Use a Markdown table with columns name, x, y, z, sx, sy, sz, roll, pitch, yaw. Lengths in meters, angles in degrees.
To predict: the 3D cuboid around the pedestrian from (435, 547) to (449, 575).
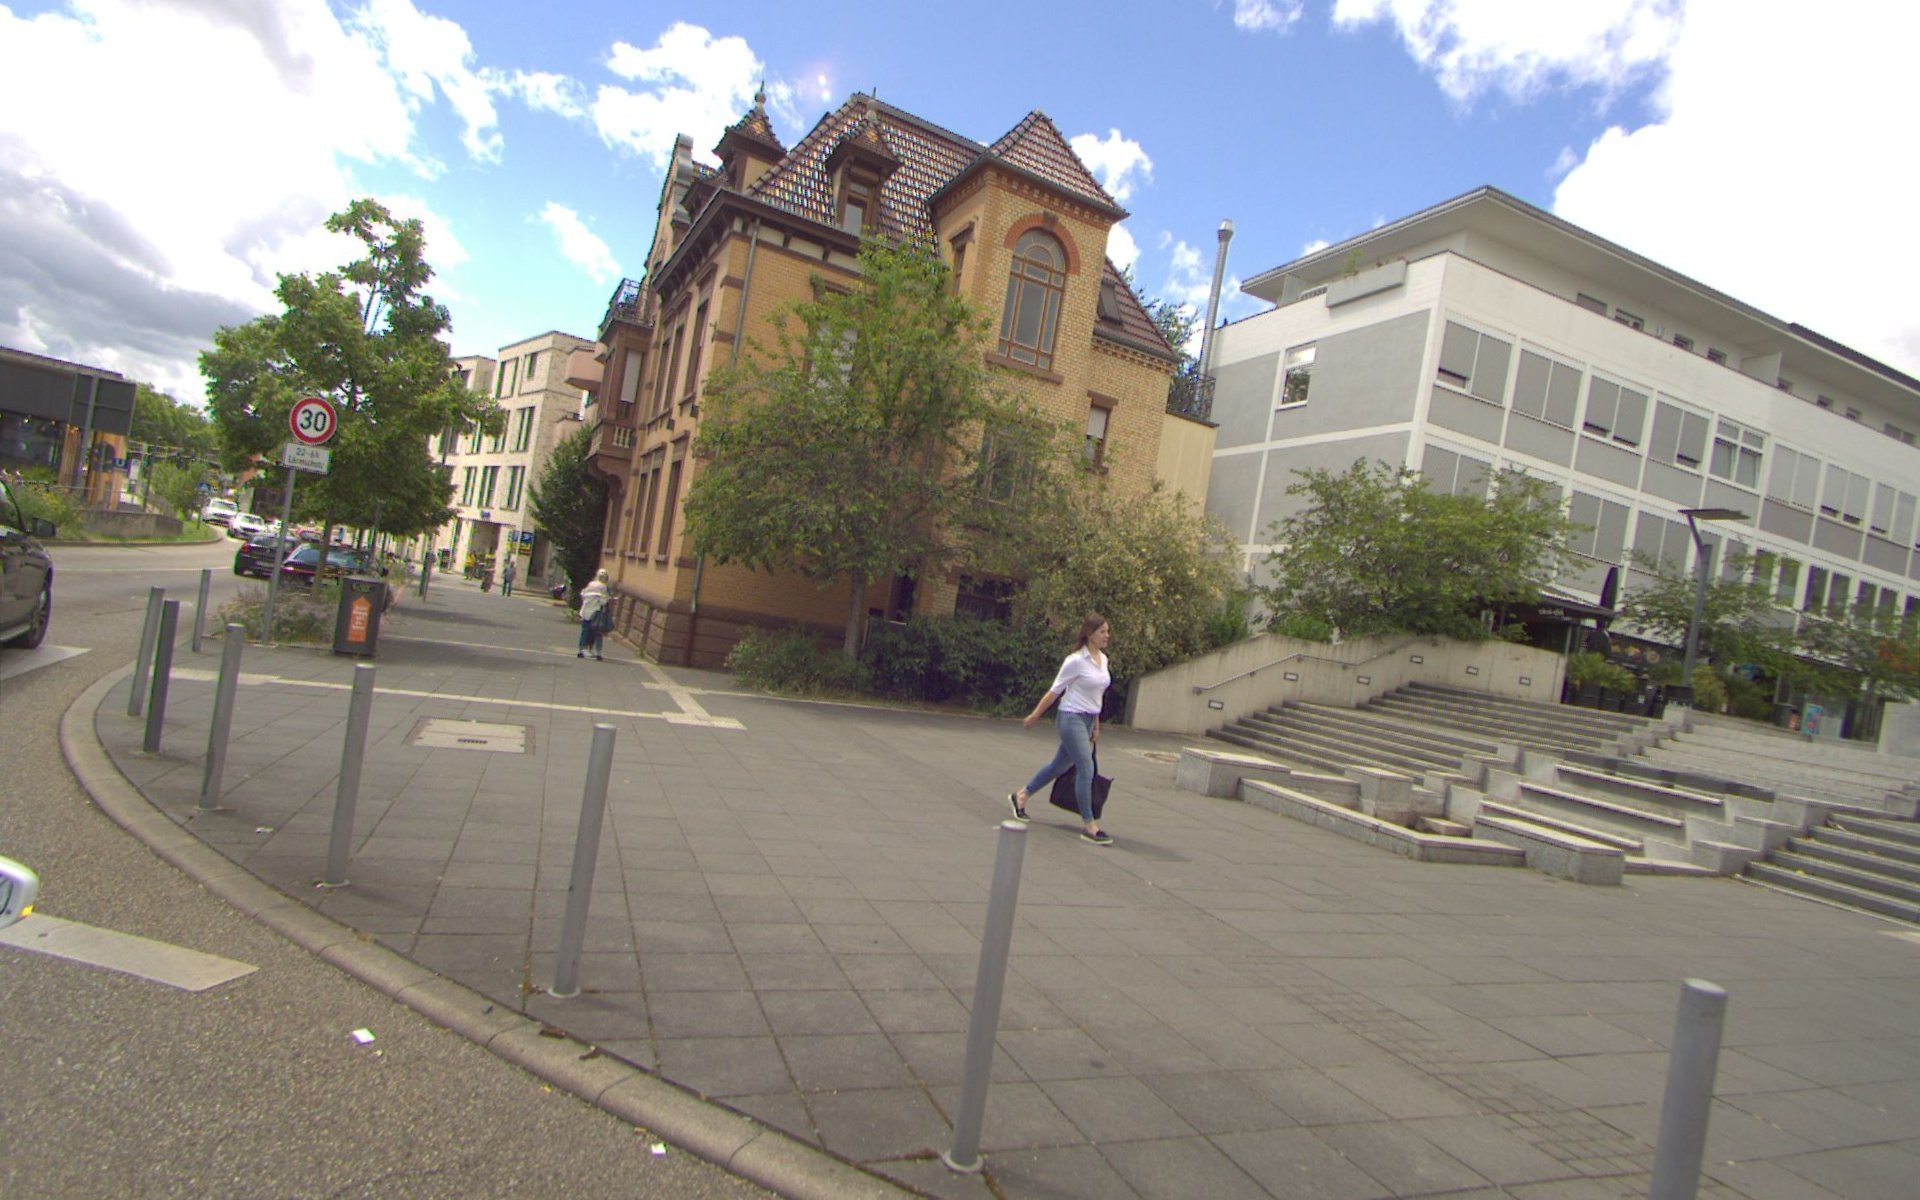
| name | x | y | z | sx | sy | sz | roll | pitch | yaw |
| --- | --- | --- | --- | --- | --- | --- | --- | --- | --- |
| pedestrian | -32.919 | -2.461 | 63.952 | 0.555 | 1.702 | 0.563 | 9 | -1 | -31 |

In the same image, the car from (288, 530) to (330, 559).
| name | x | y | z | sx | sy | sz | roll | pitch | yaw |
| --- | --- | --- | --- | --- | --- | --- | --- | --- | --- |
| car | -39.613 | -3.394 | 61.151 | 1.603 | 1.399 | 3.793 | 9 | -1 | -40 |

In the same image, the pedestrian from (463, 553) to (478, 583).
| name | x | y | z | sx | sy | sz | roll | pitch | yaw |
| --- | --- | --- | --- | --- | --- | --- | --- | --- | --- |
| pedestrian | -29.201 | -1.927 | 60.042 | 0.555 | 1.711 | 0.634 | 9 | -1 | -31 |

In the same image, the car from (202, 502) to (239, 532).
| name | x | y | z | sx | sy | sz | roll | pitch | yaw |
| --- | --- | --- | --- | --- | --- | --- | --- | --- | --- |
| car | -57.807 | -6.484 | 78.642 | 1.837 | 1.877 | 4.446 | 13 | -3 | -40 |

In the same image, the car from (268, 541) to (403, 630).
| name | x | y | z | sx | sy | sz | roll | pitch | yaw |
| --- | --- | --- | --- | --- | --- | --- | --- | --- | --- |
| car | -12.886 | -0.330 | 21.006 | 1.841 | 1.422 | 4.346 | 8 | -2 | -27 |

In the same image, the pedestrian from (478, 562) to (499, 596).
| name | x | y | z | sx | sy | sz | roll | pitch | yaw |
| --- | --- | --- | --- | --- | --- | --- | --- | --- | --- |
| pedestrian | -24.050 | -1.072 | 51.360 | 0.707 | 1.581 | 0.563 | 9 | -1 | -33 |

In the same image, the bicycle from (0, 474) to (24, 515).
| name | x | y | z | sx | sy | sz | roll | pitch | yaw |
| --- | --- | --- | --- | --- | --- | --- | --- | --- | --- |
| bicycle | -28.148 | -3.158 | 28.947 | 1.556 | 1.103 | 0.574 | 10 | -1 | -28 |

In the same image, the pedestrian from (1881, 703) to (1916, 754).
| name | x | y | z | sx | sy | sz | roll | pitch | yaw |
| --- | --- | --- | --- | --- | --- | --- | --- | --- | --- |
| pedestrian | 26.333 | 3.601 | 28.222 | 0.542 | 1.339 | 0.562 | 8 | 0 | -43 |

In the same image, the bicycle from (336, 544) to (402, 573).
| name | x | y | z | sx | sy | sz | roll | pitch | yaw |
| --- | --- | --- | --- | --- | --- | --- | --- | --- | --- |
| bicycle | -33.028 | -2.307 | 56.227 | 3.041 | 1.160 | 0.704 | 10 | -1 | -33 |

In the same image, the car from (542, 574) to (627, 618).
| name | x | y | z | sx | sy | sz | roll | pitch | yaw |
| --- | --- | --- | --- | --- | --- | --- | --- | --- | --- |
| car | -20.662 | -0.239 | 55.396 | 3.963 | 1.582 | 1.833 | 13 | -3 | -30 |

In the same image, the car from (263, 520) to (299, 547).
| name | x | y | z | sx | sy | sz | roll | pitch | yaw |
| --- | --- | --- | --- | --- | --- | --- | --- | --- | --- |
| car | -48.871 | -4.817 | 72.462 | 1.832 | 1.540 | 3.964 | 13 | -3 | -34 |

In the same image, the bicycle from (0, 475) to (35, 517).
| name | x | y | z | sx | sy | sz | roll | pitch | yaw |
| --- | --- | --- | --- | --- | --- | --- | --- | --- | --- |
| bicycle | -28.453 | -3.152 | 29.652 | 1.556 | 1.081 | 0.535 | 10 | -1 | -28 |

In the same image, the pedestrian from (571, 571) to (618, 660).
| name | x | y | z | sx | sy | sz | roll | pitch | yaw |
| --- | --- | --- | --- | --- | --- | --- | --- | --- | --- |
| pedestrian | -7.096 | 0.307 | 19.547 | 0.503 | 1.648 | 0.503 | 7 | -1 | 42 |

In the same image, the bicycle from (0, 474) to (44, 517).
| name | x | y | z | sx | sy | sz | roll | pitch | yaw |
| --- | --- | --- | --- | --- | --- | --- | --- | --- | --- |
| bicycle | -28.824 | -3.213 | 30.338 | 1.556 | 1.103 | 0.574 | 10 | -1 | -28 |

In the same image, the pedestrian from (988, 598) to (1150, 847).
| name | x | y | z | sx | sy | sz | roll | pitch | yaw |
| --- | --- | --- | --- | --- | --- | --- | --- | --- | --- |
| pedestrian | 0.850 | 0.937 | 7.868 | 0.766 | 1.766 | 0.703 | 8 | 0 | 45 |

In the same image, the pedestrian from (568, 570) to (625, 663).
| name | x | y | z | sx | sy | sz | roll | pitch | yaw |
| --- | --- | --- | --- | --- | --- | --- | --- | --- | --- |
| pedestrian | -6.835 | 0.318 | 18.915 | 0.666 | 1.648 | 0.553 | 7 | -1 | 34 |

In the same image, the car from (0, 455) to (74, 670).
| name | x | y | z | sx | sy | sz | roll | pitch | yaw |
| --- | --- | --- | --- | --- | --- | --- | --- | --- | --- |
| car | -9.011 | -0.442 | 8.233 | 2.017 | 1.747 | 4.390 | 9 | -1 | -36 |

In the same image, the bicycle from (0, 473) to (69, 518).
| name | x | y | z | sx | sy | sz | roll | pitch | yaw |
| --- | --- | --- | --- | --- | --- | --- | --- | --- | --- |
| bicycle | -29.577 | -3.326 | 32.048 | 1.556 | 1.103 | 0.574 | 10 | -1 | -28 |

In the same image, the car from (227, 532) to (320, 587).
| name | x | y | z | sx | sy | sz | roll | pitch | yaw |
| --- | --- | --- | --- | --- | --- | --- | --- | --- | --- |
| car | -21.633 | -1.284 | 31.836 | 1.594 | 1.399 | 3.814 | 9 | -1 | -24 |

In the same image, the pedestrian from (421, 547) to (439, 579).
| name | x | y | z | sx | sy | sz | roll | pitch | yaw |
| --- | --- | --- | --- | --- | --- | --- | --- | --- | --- |
| pedestrian | -30.055 | -2.120 | 57.063 | 0.659 | 1.702 | 0.563 | 9 | -1 | -33 |

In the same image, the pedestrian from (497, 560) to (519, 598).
| name | x | y | z | sx | sy | sz | roll | pitch | yaw |
| --- | --- | --- | --- | --- | --- | --- | --- | --- | --- |
| pedestrian | -20.951 | -0.956 | 46.613 | 0.628 | 1.645 | 0.693 | 9 | -1 | -35 |

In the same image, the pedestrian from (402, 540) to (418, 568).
| name | x | y | z | sx | sy | sz | roll | pitch | yaw |
| --- | --- | --- | --- | --- | --- | --- | --- | --- | --- |
| pedestrian | -36.124 | -3.014 | 66.087 | 0.560 | 1.702 | 0.558 | 8 | -1 | 40 |

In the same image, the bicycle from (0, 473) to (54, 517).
| name | x | y | z | sx | sy | sz | roll | pitch | yaw |
| --- | --- | --- | --- | --- | --- | --- | --- | --- | --- |
| bicycle | -29.252 | -3.283 | 31.174 | 1.556 | 1.103 | 0.574 | 10 | -1 | -28 |

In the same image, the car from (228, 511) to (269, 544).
| name | x | y | z | sx | sy | sz | roll | pitch | yaw |
| --- | --- | --- | --- | --- | --- | --- | --- | --- | --- |
| car | -45.421 | -4.658 | 64.189 | 1.835 | 1.624 | 3.959 | 13 | -3 | -37 |
